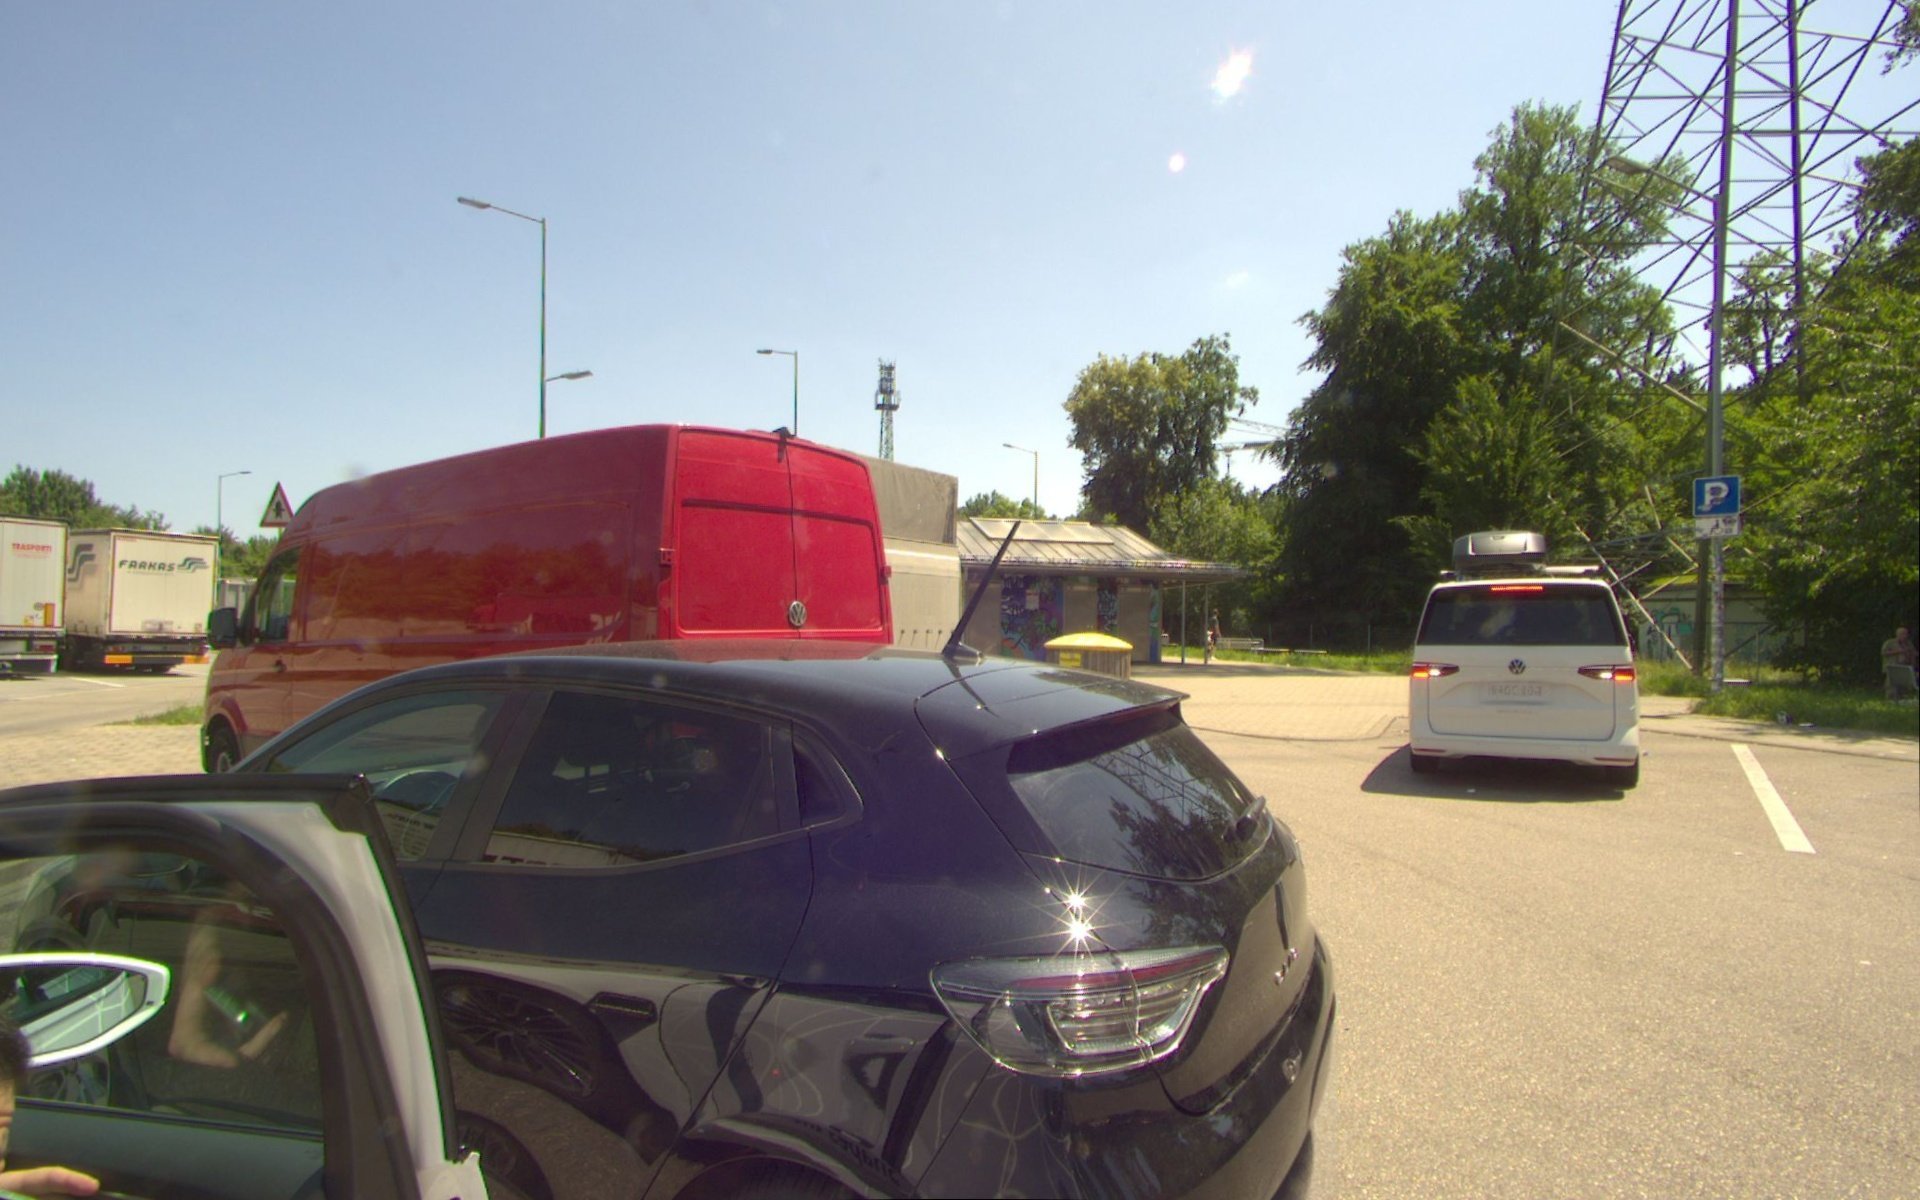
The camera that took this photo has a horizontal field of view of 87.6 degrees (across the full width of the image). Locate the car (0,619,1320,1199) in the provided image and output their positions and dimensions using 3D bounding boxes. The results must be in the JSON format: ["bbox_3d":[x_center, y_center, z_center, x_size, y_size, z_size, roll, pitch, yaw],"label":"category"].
[{"bbox_3d":[-1.048,0.836,2.911,3.757,1.501,1.736,0,-1,27],"label":"car"}]

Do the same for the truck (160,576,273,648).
[{"bbox_3d":[-37.688,0.576,50.739,5.405,3.407,2.847,1,-2,34],"label":"truck"}]

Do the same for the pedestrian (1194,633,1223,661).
[{"bbox_3d":[8.825,1.664,35.599,0.767,0.960,0.643,1,-2,-30],"label":"pedestrian"}]

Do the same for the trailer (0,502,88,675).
[{"bbox_3d":[-28.959,-0.364,28.149,13.523,4.185,2.835,1,-2,33],"label":"trailer"}]

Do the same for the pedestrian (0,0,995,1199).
[{"bbox_3d":[-0.504,0.588,0.805,0.878,1.865,0.618,-1,-1,35],"label":"pedestrian"}]

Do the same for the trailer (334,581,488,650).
[{"bbox_3d":[-36.045,0.923,65.432,13.530,4.101,2.834,1,-2,34],"label":"trailer"}]

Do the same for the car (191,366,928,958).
[{"bbox_3d":[-3.341,0.311,7.362,6.310,2.731,2.060,0,-1,37],"label":"car"}]

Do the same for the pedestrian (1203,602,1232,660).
[{"bbox_3d":[9.268,1.112,36.035,0.767,2.067,0.643,1,-1,-30],"label":"pedestrian"}]

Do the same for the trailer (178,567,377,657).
[{"bbox_3d":[-32.378,0.491,47.140,13.530,3.764,2.834,1,-2,34],"label":"trailer"}]

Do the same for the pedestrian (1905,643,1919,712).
[{"bbox_3d":[17.202,1.353,17.484,0.876,1.192,0.666,-1,-2,32],"label":"pedestrian"}]

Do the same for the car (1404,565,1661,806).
[{"bbox_3d":[5.802,0.742,10.535,1.881,1.937,4.548,-1,-1,26],"label":"car"}]

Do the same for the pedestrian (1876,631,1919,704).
[{"bbox_3d":[18.666,1.320,19.833,0.660,1.422,0.647,-1,-1,33],"label":"pedestrian"}]

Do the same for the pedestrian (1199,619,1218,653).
[{"bbox_3d":[11.455,1.678,46.197,0.634,1.547,0.565,0,-1,-15],"label":"pedestrian"}]

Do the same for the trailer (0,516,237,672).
[{"bbox_3d":[-27.651,-0.185,31.630,13.523,4.185,2.835,1,-2,33],"label":"trailer"}]
